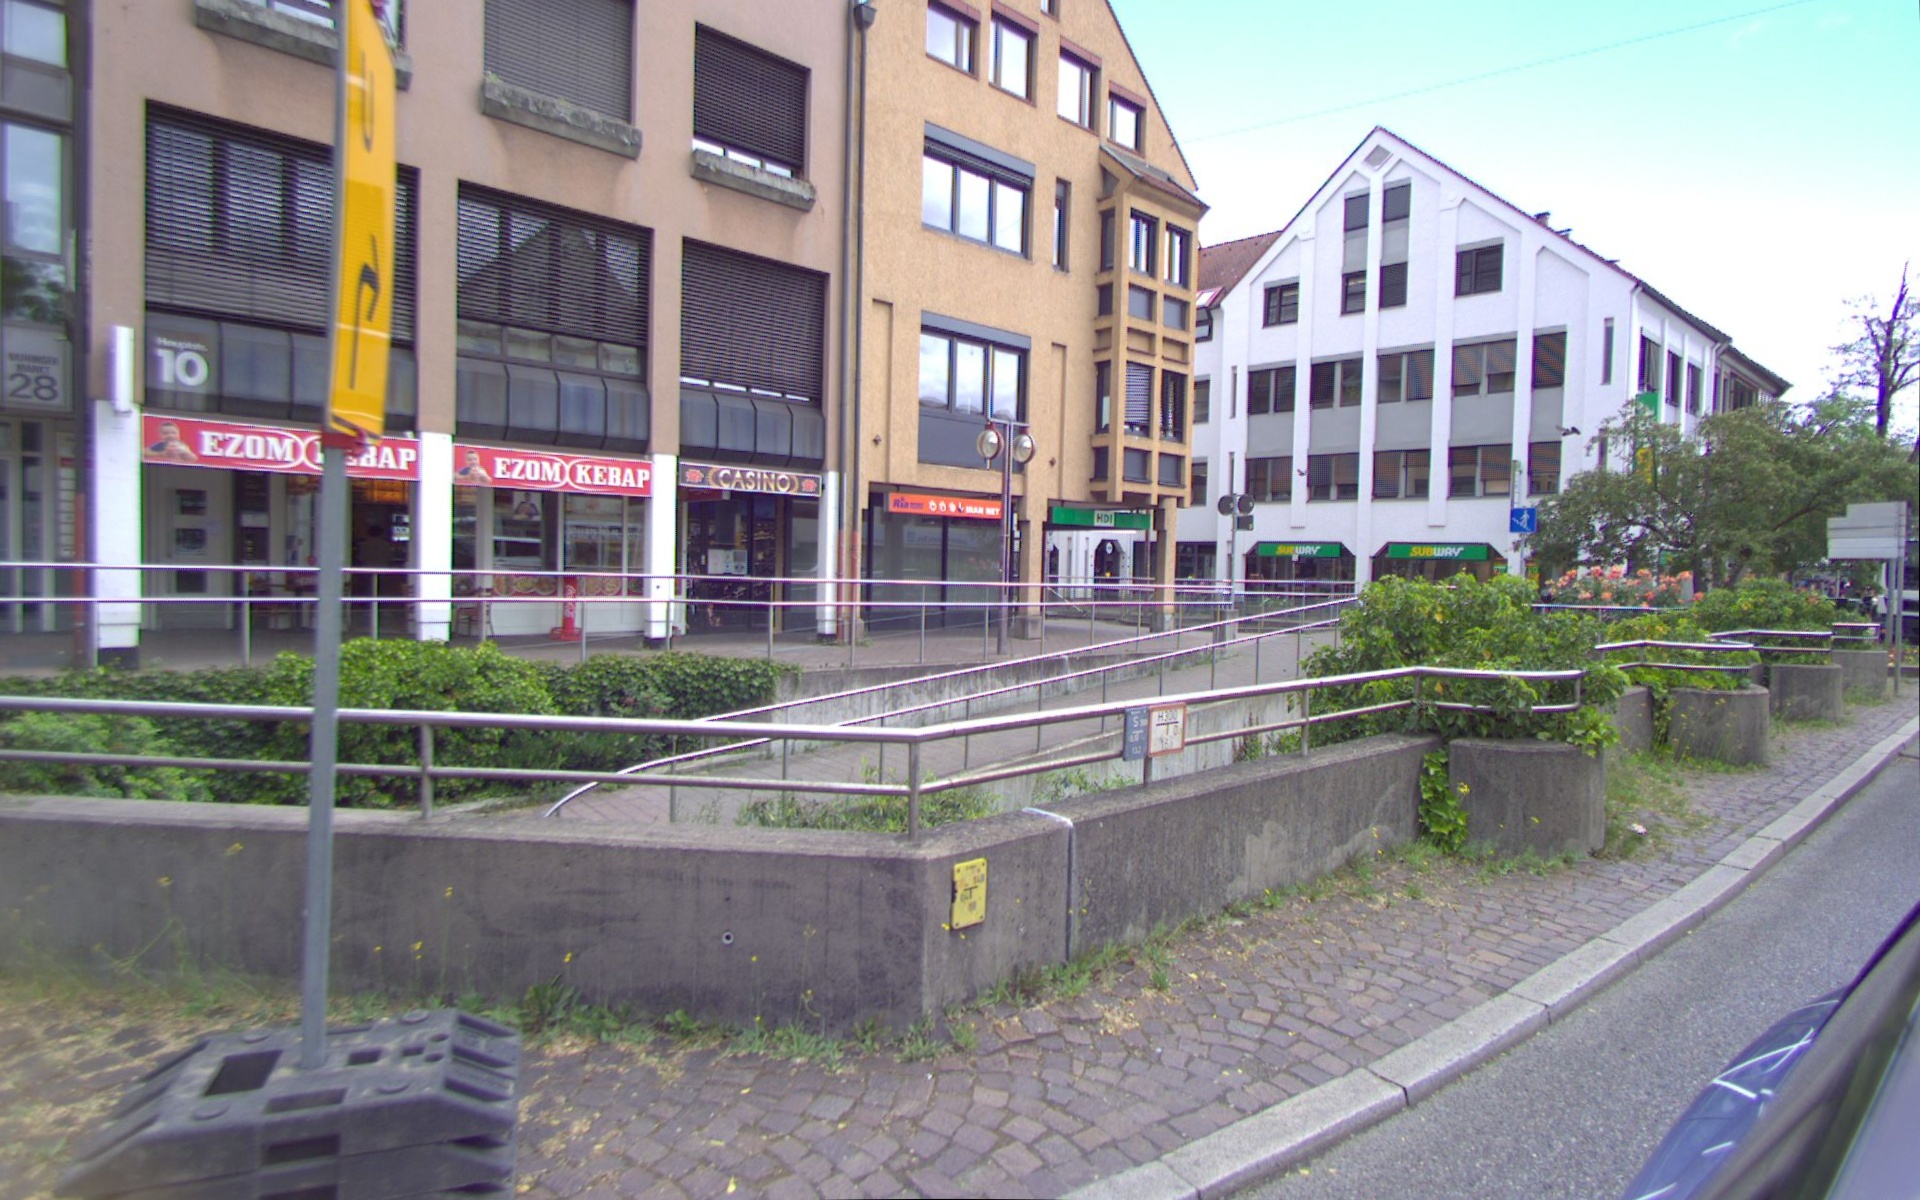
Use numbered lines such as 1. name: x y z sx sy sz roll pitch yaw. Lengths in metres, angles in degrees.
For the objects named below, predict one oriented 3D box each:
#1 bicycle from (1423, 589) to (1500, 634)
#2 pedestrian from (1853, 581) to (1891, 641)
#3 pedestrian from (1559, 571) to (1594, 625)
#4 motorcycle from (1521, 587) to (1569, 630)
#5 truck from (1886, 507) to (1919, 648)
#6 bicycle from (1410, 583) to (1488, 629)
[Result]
1. bicycle: 12.010 0.261 24.259 1.583 0.981 0.456 2 2 35
2. pedestrian: 24.916 0.280 27.652 0.672 1.596 0.653 0 1 -41
3. pedestrian: 20.985 -0.082 34.463 0.882 1.779 0.932 2 2 37
4. motorcycle: 15.385 0.203 26.606 1.961 1.081 0.464 0 2 -41
5. truck: 27.371 -0.607 27.406 8.201 3.528 2.444 -1 1 -41
6. bicycle: 11.454 0.120 23.747 1.584 1.014 0.409 2 2 36
